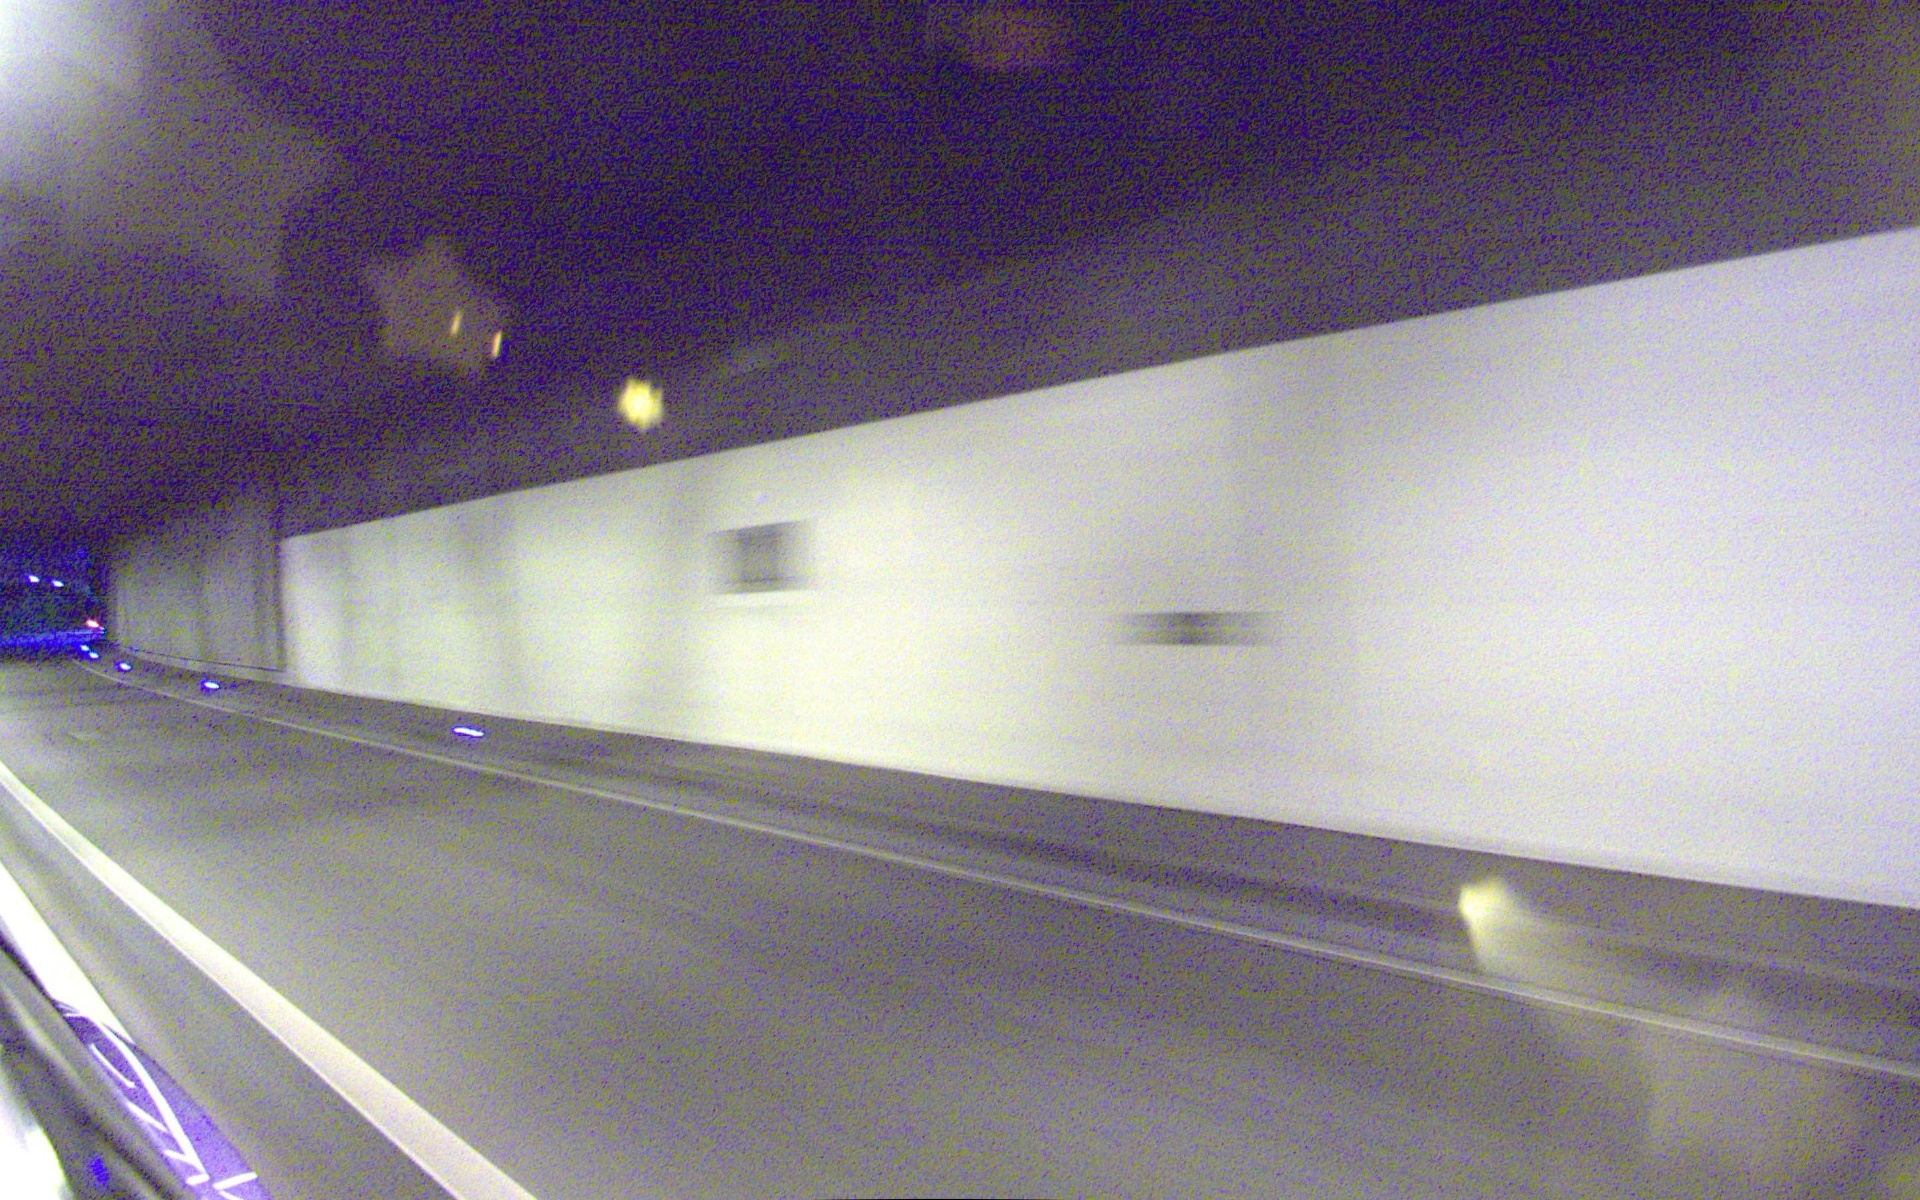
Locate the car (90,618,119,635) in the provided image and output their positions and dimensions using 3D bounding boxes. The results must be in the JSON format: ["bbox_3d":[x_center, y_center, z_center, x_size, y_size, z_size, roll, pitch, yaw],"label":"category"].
[{"bbox_3d":[-75.987,2.338,89.939,1.694,1.453,4.403,-3,1,-37],"label":"car"}]
